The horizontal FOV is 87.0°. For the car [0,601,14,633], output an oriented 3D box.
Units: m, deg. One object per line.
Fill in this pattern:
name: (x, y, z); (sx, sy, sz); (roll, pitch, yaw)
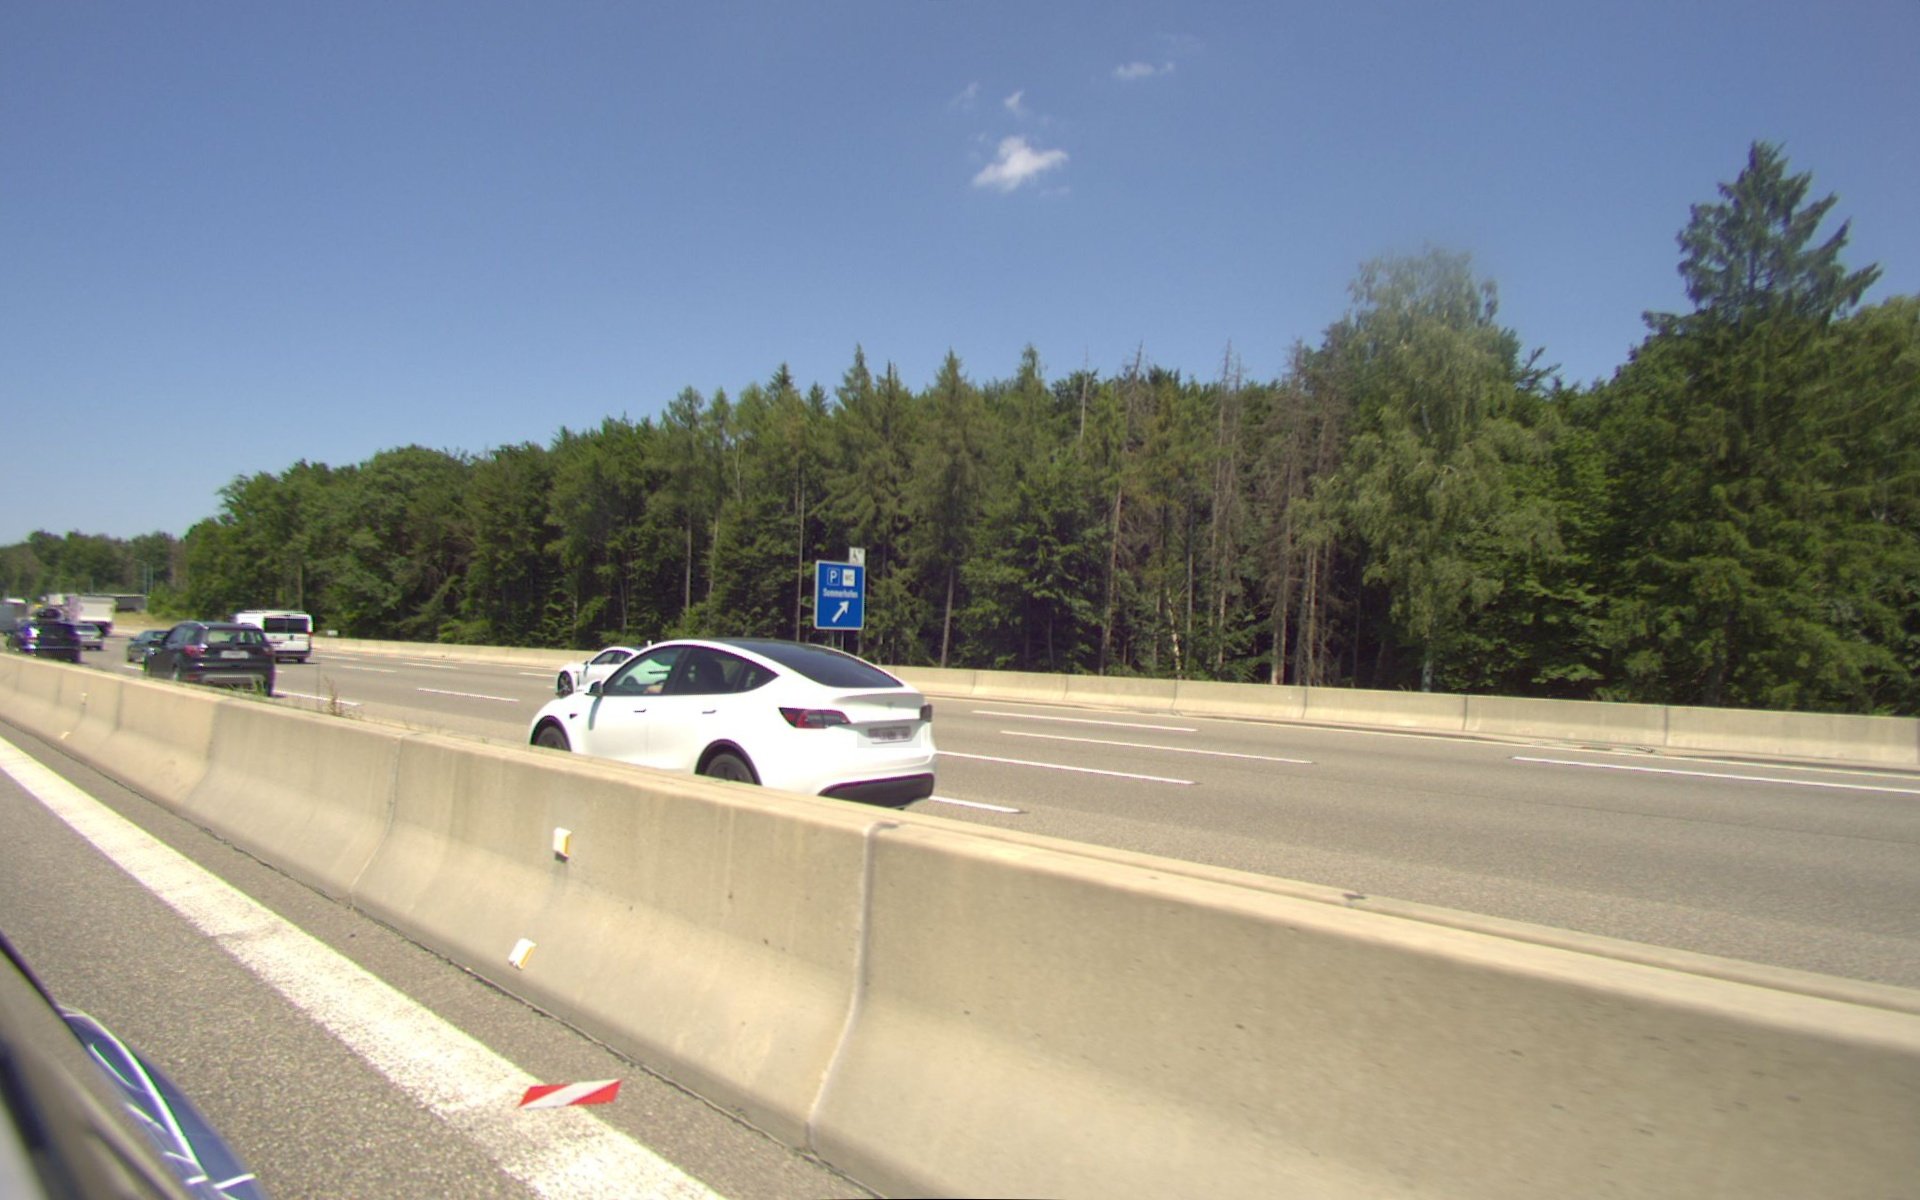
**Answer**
car: (-81.328, 1.424, 84.994); (7.226, 2.627, 1.910); (-1, -3, 41)

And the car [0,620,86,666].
car: (-35.120, 1.615, 38.683); (5.226, 1.618, 1.850); (-1, -3, 41)

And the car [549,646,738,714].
car: (-7.451, 1.787, 23.585); (4.842, 1.316, 1.972); (-1, -2, 41)

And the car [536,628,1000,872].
car: (-1.931, 1.115, 9.247); (4.473, 1.686, 1.793); (-1, -3, 41)

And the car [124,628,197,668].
car: (-31.964, 1.910, 40.423); (3.837, 1.466, 1.533); (-1, -4, 41)

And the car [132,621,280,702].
car: (-17.359, 1.347, 23.241); (4.200, 1.686, 1.736); (-1, -3, 40)

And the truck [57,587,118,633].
truck: (-79.993, 0.930, 92.694); (10.231, 3.969, 2.691); (0, -2, 41)

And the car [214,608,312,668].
car: (-31.288, 1.673, 45.305); (6.622, 2.431, 1.910); (0, -4, 41)

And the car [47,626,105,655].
car: (-47.576, 2.141, 54.433); (4.523, 1.455, 1.661); (-1, -3, 41)
